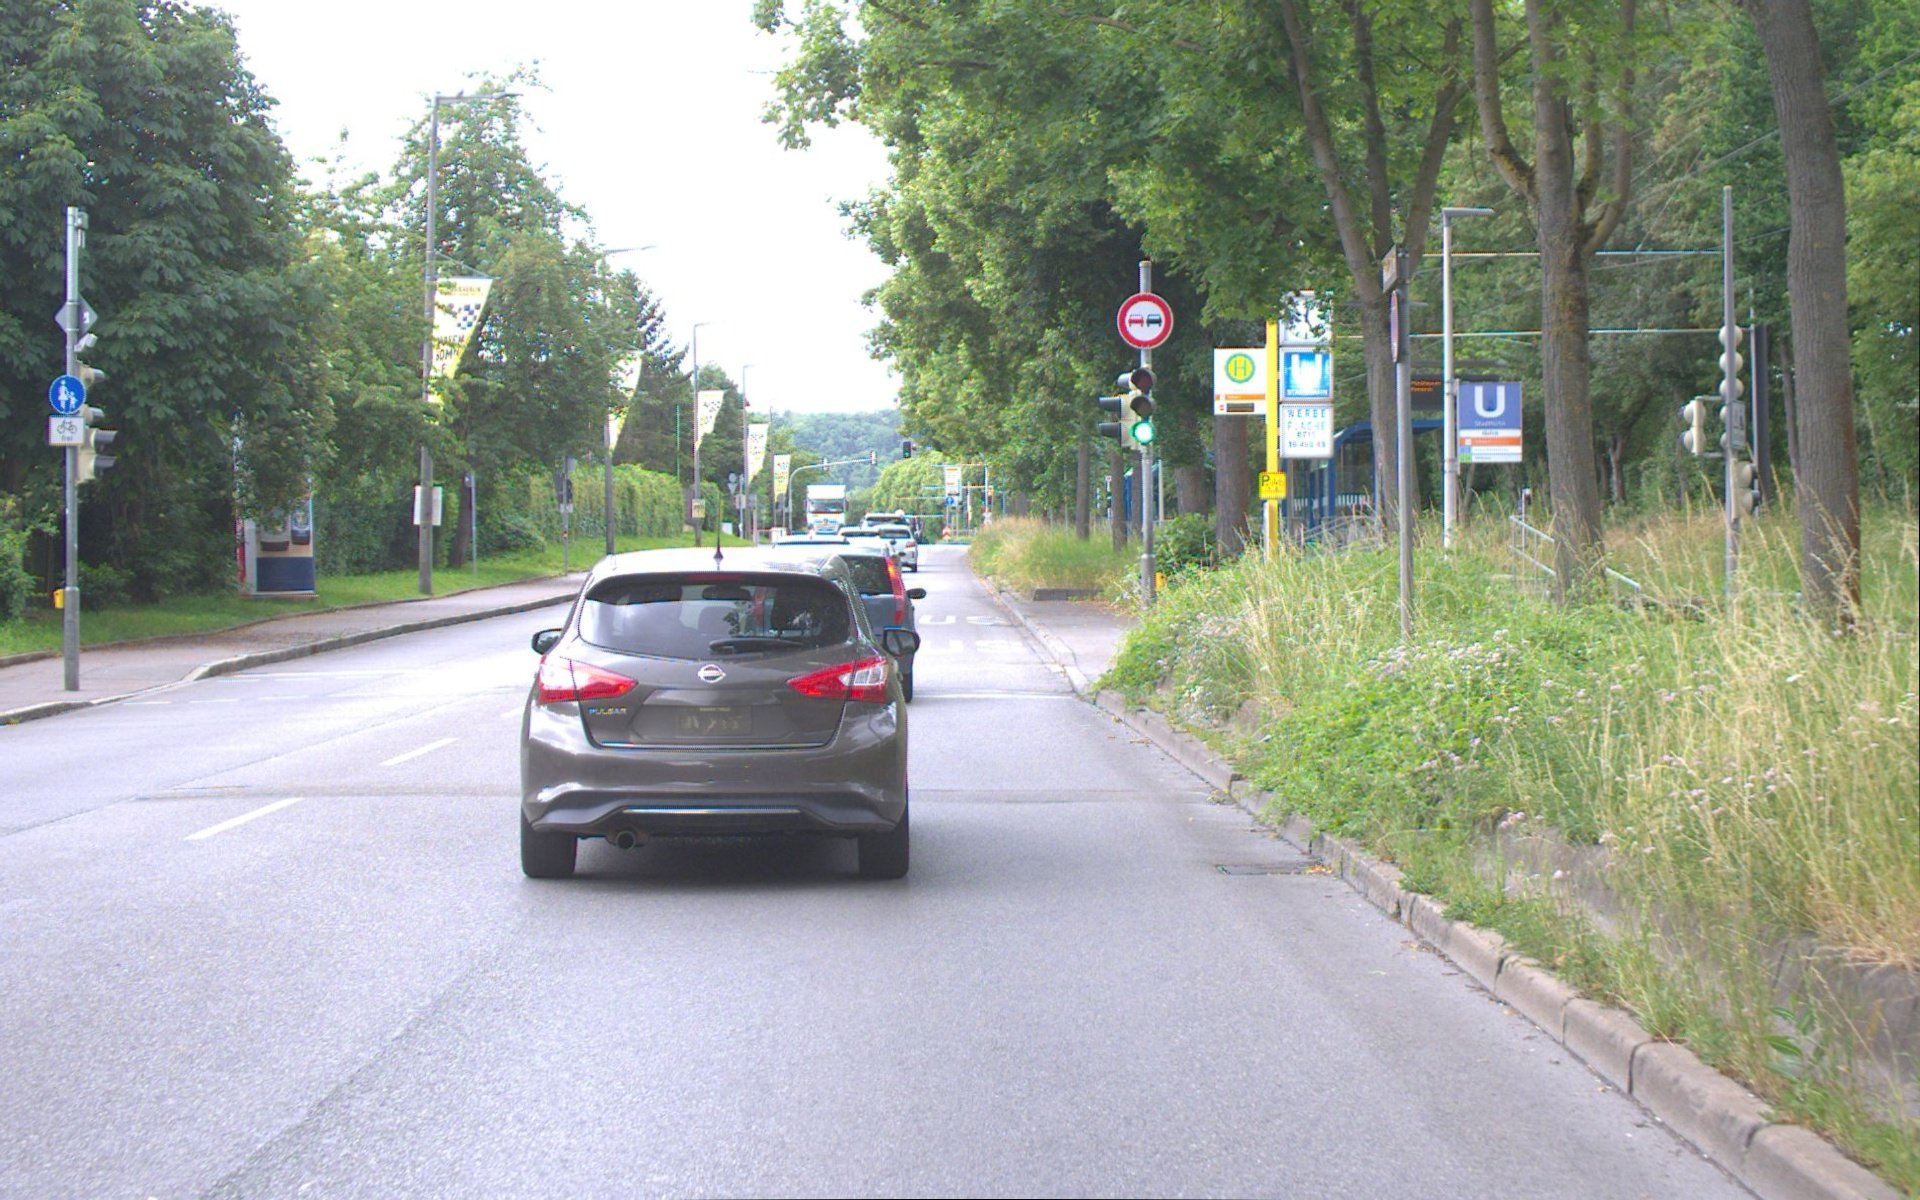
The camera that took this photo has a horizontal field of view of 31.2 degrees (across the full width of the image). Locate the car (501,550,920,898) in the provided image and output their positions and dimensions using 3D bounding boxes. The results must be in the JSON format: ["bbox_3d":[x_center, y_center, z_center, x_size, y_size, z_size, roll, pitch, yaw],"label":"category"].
[{"bbox_3d":[-1.106,0.519,16.784,1.783,1.501,3.696,0,1,0],"label":"car"}]

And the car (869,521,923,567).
[{"bbox_3d":[-2.019,-1.765,109.114,1.691,1.436,3.542,0,1,-1],"label":"car"}]

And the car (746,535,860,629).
[{"bbox_3d":[-2.459,-0.307,54.547,1.691,1.436,3.542,0,1,-1],"label":"car"}]

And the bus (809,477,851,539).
[{"bbox_3d":[-8.660,-6.111,229.298,2.487,4.012,10.218,0,1,-1],"label":"bus"}]

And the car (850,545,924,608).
[{"bbox_3d":[-1.677,-0.563,79.596,1.691,1.436,3.542,0,1,-1],"label":"car"}]

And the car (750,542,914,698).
[{"bbox_3d":[-1.201,0.152,33.340,1.502,1.436,3.542,0,1,-1],"label":"car"}]
